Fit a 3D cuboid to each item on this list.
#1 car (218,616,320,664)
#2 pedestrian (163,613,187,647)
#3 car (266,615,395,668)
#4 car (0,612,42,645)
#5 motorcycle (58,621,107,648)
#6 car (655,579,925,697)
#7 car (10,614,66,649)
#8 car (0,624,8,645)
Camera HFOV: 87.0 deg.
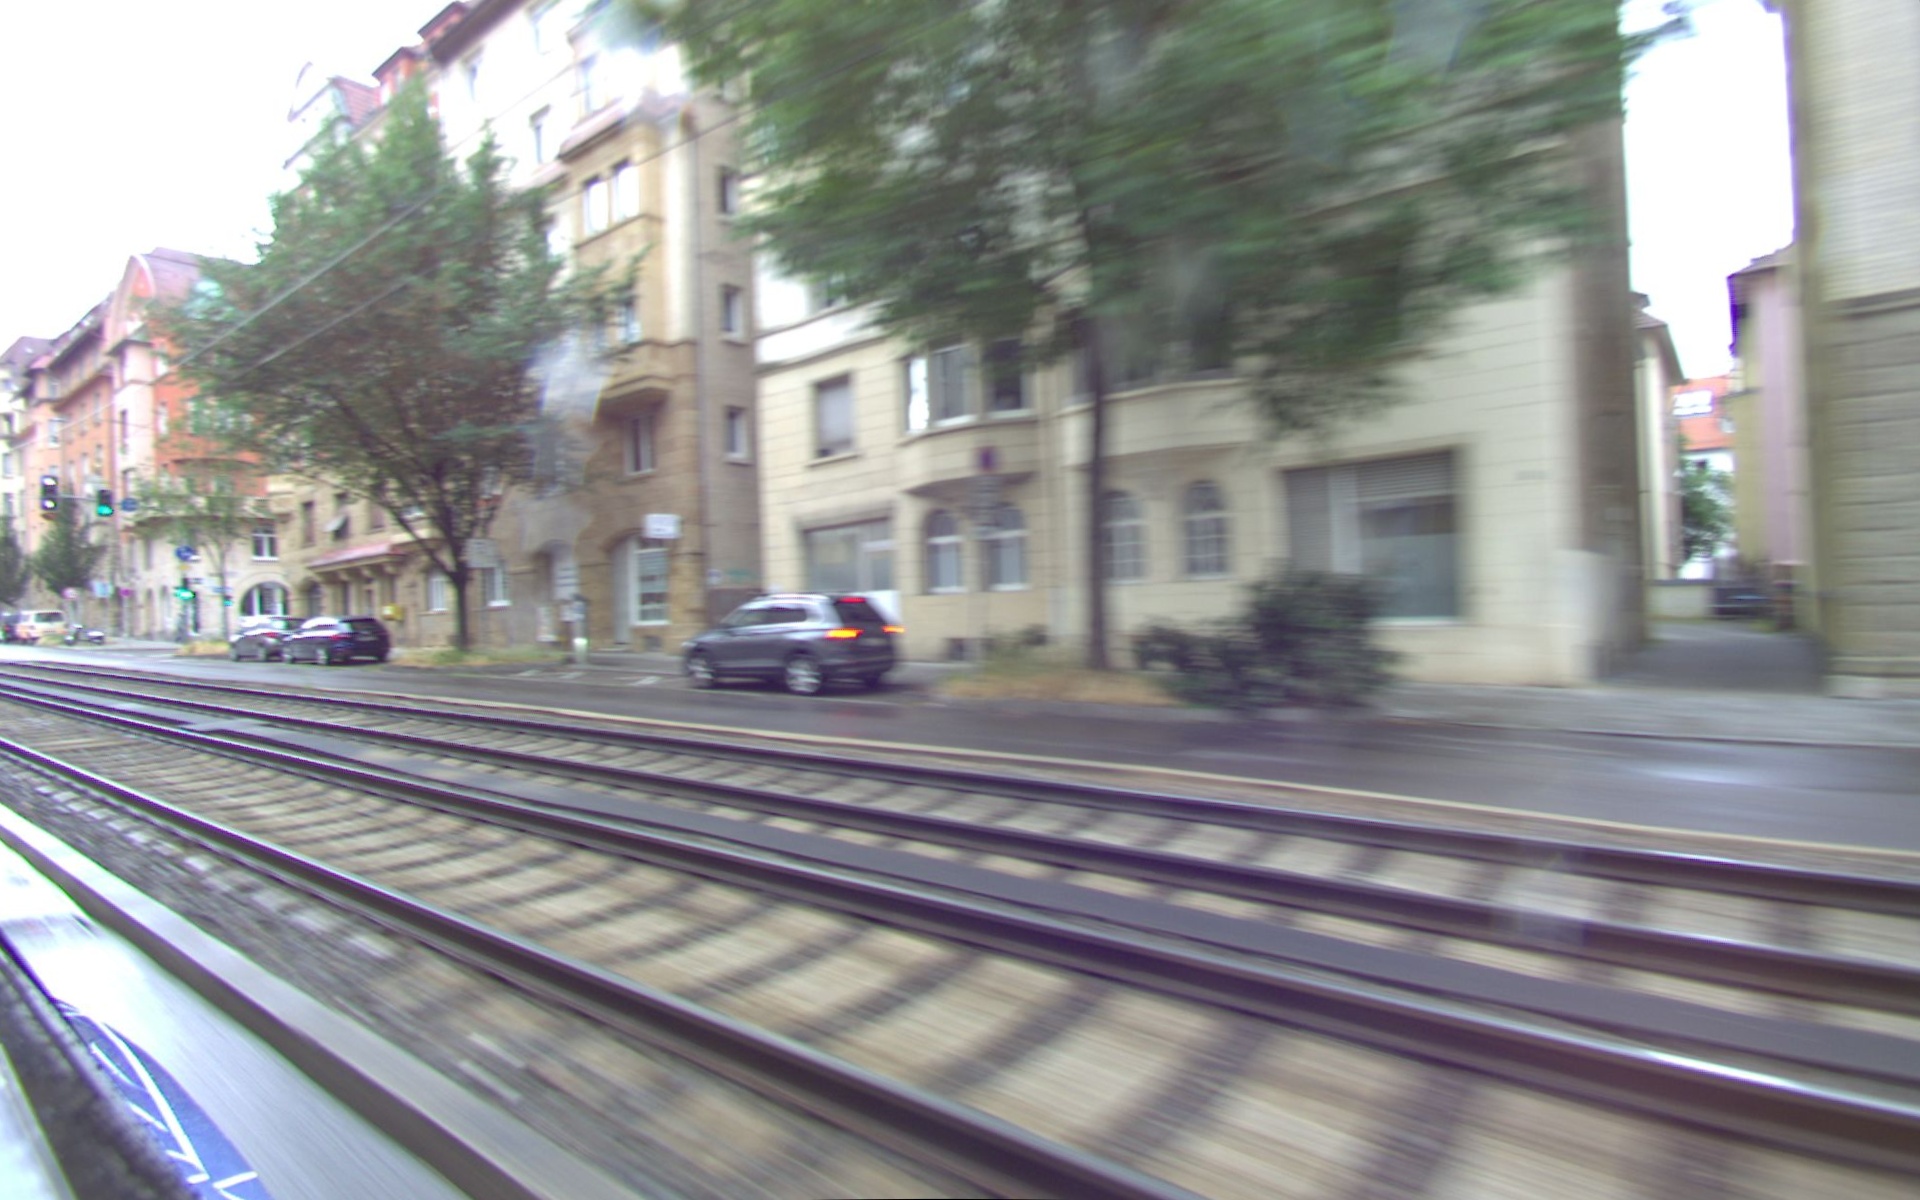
[{"bbox_3d":[-23.659,1.320,34.599,4.170,1.541,1.674,0,-1,38],"label":"car"},{"bbox_3d":[-41.927,1.581,54.063,0.891,1.732,0.710,-1,5,39],"label":"pedestrian"},{"bbox_3d":[-19.350,1.217,31.017,4.971,1.471,1.764,0,-1,38],"label":"car"},{"bbox_3d":[-59.108,1.749,63.218,4.826,1.945,1.887,-1,-1,39],"label":"car"},{"bbox_3d":[-45.442,1.795,52.430,1.753,1.385,0.770,0,-1,-19],"label":"motorcycle"},{"bbox_3d":[-3.100,0.637,17.924,4.772,1.755,1.935,-2,2,38],"label":"car"},{"bbox_3d":[-53.827,1.788,59.055,4.470,1.945,1.712,0,-1,38],"label":"car"},{"bbox_3d":[-68.756,2.426,71.316,3.688,1.414,1.739,0,2,36],"label":"car"}]
